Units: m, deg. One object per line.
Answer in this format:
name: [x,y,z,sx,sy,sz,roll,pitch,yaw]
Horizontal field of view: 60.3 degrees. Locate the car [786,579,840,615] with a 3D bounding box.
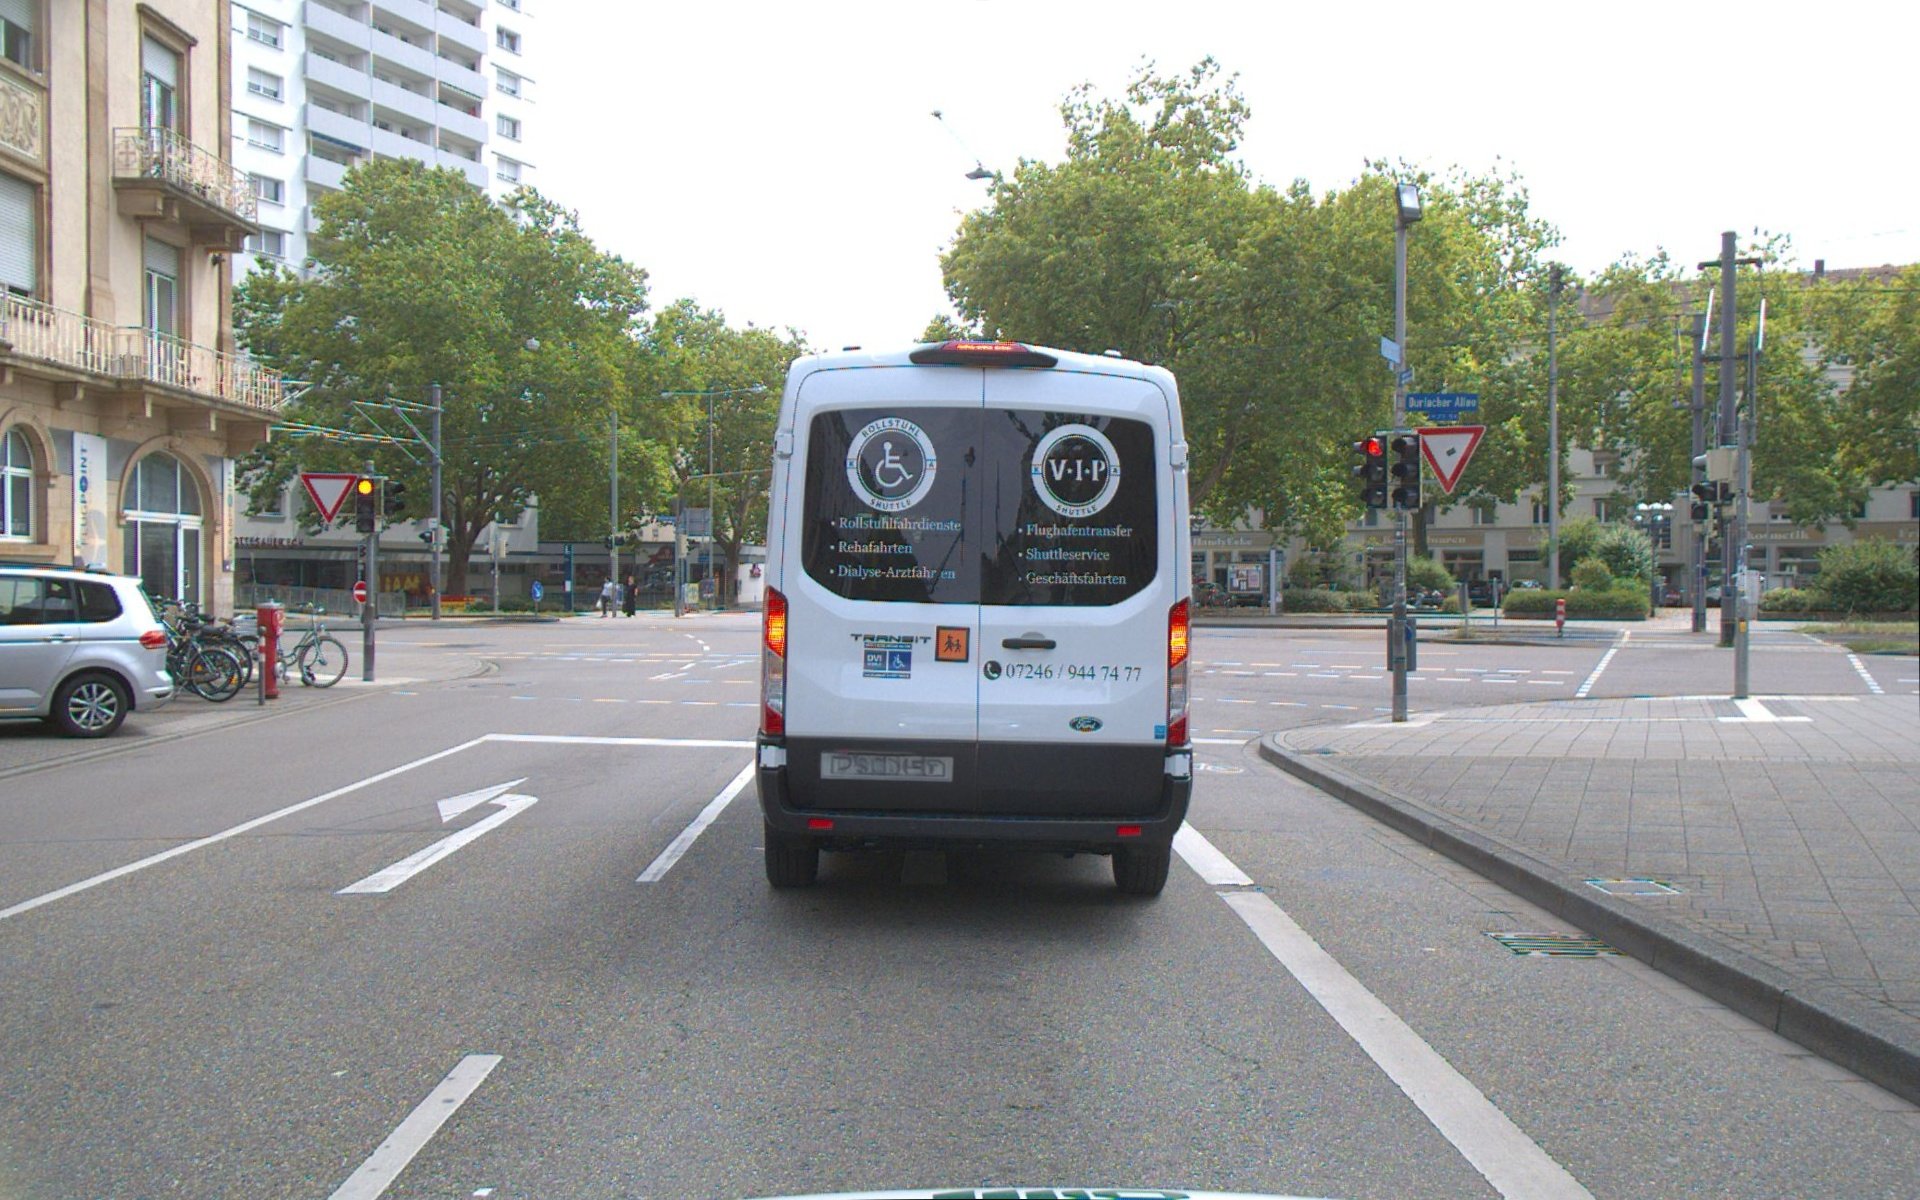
car: [-6.473,-0.147,73.244,1.586,1.502,4.003,-1,1,7]

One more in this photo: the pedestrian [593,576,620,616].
pedestrian: [-14.165,-0.177,66.266,0.790,1.600,0.724,0,0,13]

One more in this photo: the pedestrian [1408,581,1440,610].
pedestrian: [20.794,-0.208,74.185,1.068,1.257,1.441,-2,0,3]

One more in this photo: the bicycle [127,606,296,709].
bicycle: [-9.199,0.699,20.354,1.772,1.140,0.594,3,0,3]

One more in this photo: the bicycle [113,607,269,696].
bicycle: [-10.383,0.694,22.378,1.776,1.140,0.593,2,0,-9]

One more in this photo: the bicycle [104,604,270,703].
bicycle: [-9.832,0.677,21.080,1.776,1.186,0.593,2,0,-9]

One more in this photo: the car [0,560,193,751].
car: [-9.833,0.524,16.114,3.975,1.804,1.771,-1,1,-40]

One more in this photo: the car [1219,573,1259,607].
car: [16.566,-0.608,98.263,1.952,1.964,4.002,0,1,4]

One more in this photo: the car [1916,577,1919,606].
car: [50.980,-0.448,84.858,1.730,1.530,4.002,0,1,4]

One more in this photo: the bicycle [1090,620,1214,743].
bicycle: [1.863,0.767,16.384,0.885,1.093,1.969,0,1,-4]

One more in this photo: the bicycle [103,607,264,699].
bicycle: [-10.166,0.694,21.685,1.776,1.140,0.593,2,0,-9]

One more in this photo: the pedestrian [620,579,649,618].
pedestrian: [-13.039,-0.075,66.163,0.910,1.541,0.724,0,0,13]

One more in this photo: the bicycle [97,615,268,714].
bicycle: [-9.240,0.765,19.683,1.771,1.140,0.594,-1,0,5]

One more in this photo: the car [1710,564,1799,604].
car: [39.700,-0.794,82.731,3.906,1.915,1.857,0,0,24]

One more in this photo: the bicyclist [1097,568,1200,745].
bicyclist: [1.864,0.545,16.447,0.886,1.713,0.756,0,0,-4]

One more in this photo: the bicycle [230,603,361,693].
bicycle: [-9.455,0.671,23.514,1.836,1.187,0.498,2,0,20]

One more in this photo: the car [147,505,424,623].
car: [-24.242,-1.229,59.355,9.686,3.983,3.454,0,1,24]

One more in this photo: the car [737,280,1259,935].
car: [0.072,-0.008,9.192,2.138,2.694,4.626,1,1,-2]

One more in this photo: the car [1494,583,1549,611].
car: [31.254,-0.187,92.174,1.952,1.529,4.002,0,1,4]
